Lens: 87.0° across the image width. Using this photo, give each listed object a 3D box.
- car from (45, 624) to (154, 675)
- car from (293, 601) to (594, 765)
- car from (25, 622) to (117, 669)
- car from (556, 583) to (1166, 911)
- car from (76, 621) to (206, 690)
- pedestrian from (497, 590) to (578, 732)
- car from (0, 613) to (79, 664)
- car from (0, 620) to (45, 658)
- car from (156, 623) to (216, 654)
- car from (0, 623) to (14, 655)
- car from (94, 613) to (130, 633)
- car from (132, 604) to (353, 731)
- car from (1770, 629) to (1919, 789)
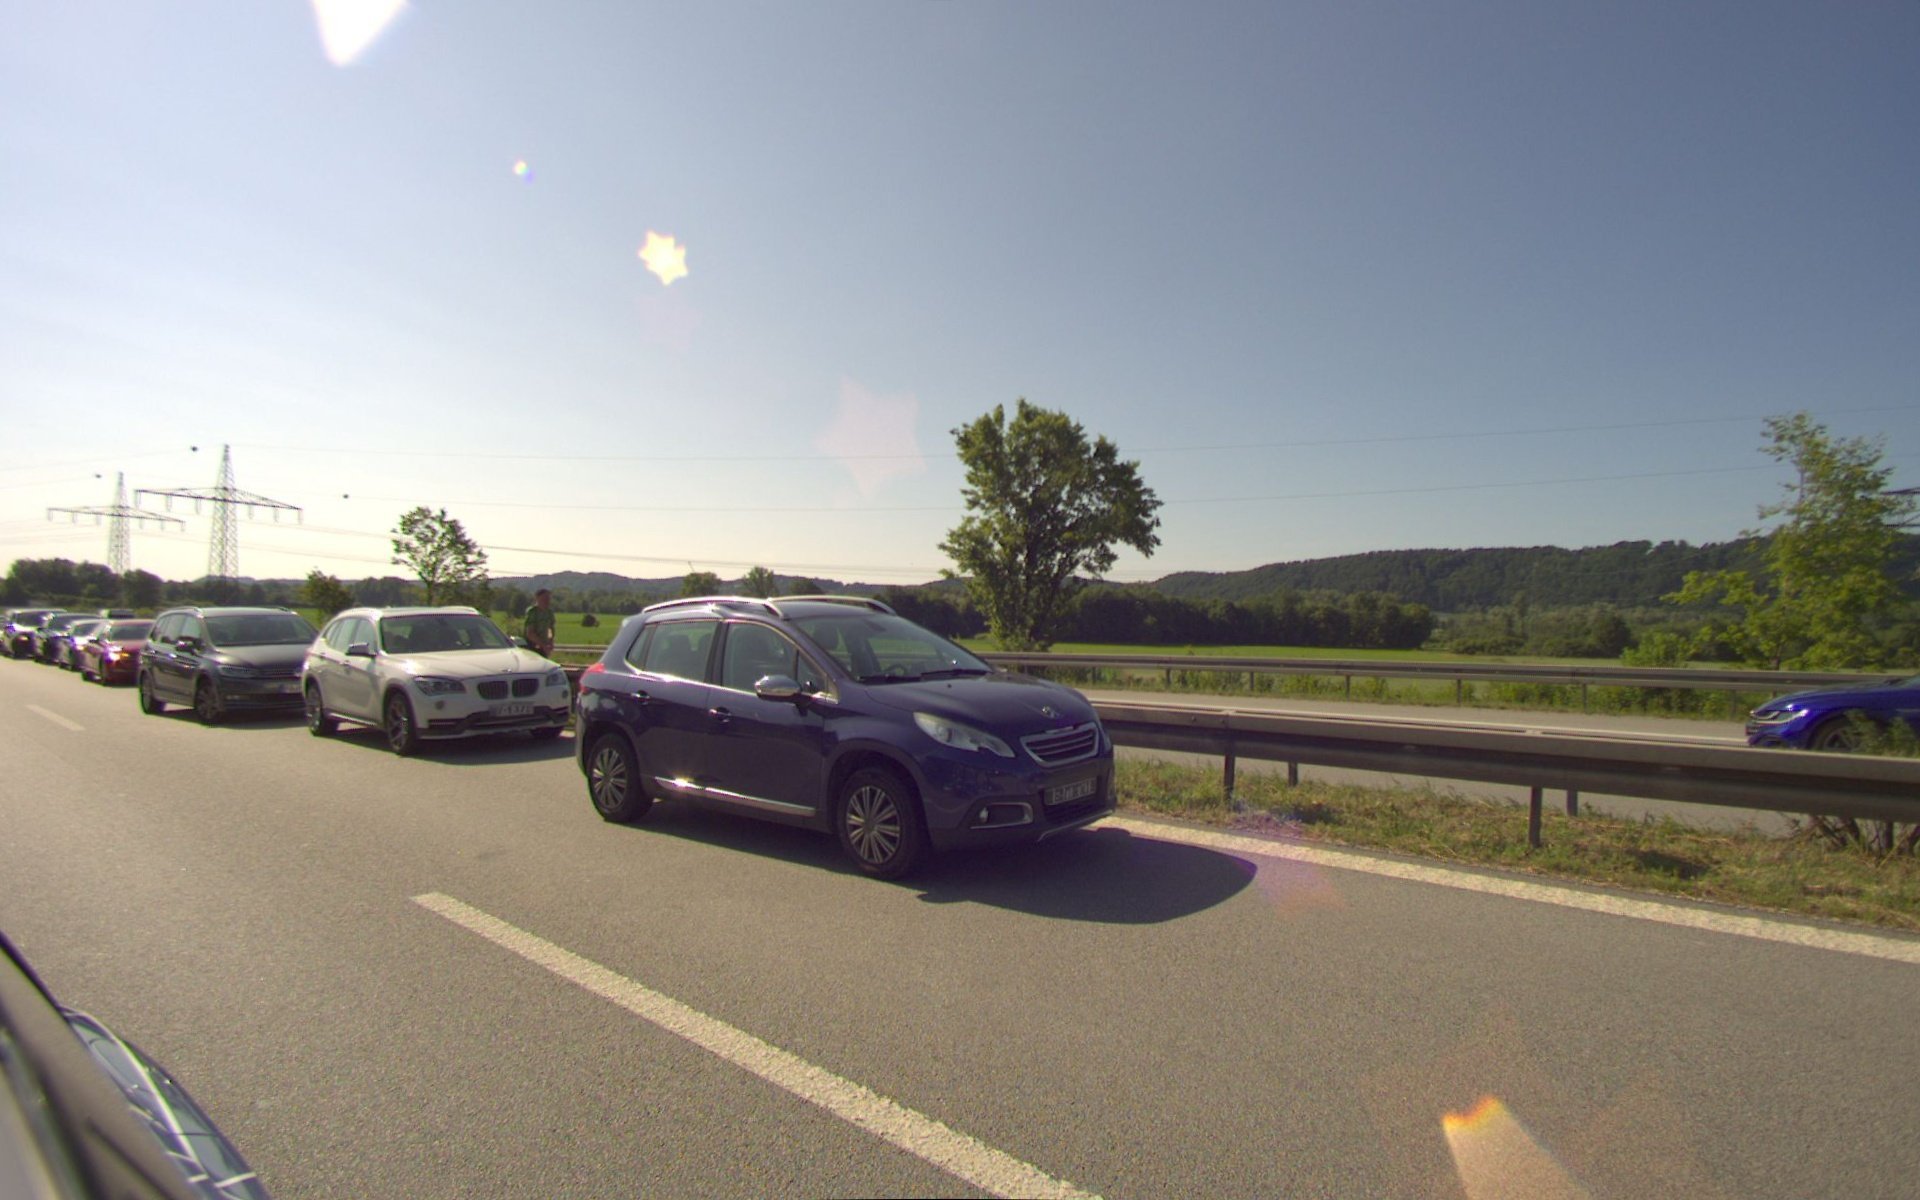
[{"bbox_3d":[-25.317,1.401,29.727,3.998,1.409,1.870,-1,-2,41],"label":"car"},{"bbox_3d":[-6.164,0.844,11.873,4.163,1.586,1.808,-1,-1,42],"label":"car"},{"bbox_3d":[-29.780,1.480,33.871,3.999,1.466,1.869,-1,-2,42],"label":"car"},{"bbox_3d":[-0.826,0.716,6.671,3.944,1.546,1.671,-1,0,39],"label":"car"},{"bbox_3d":[-19.131,1.234,23.587,4.117,1.470,1.795,-1,-2,43],"label":"car"},{"bbox_3d":[-5.478,0.772,13.127,0.814,1.764,0.663,-1,-2,41],"label":"pedestrian"},{"bbox_3d":[-34.996,1.435,38.344,4.197,1.801,1.877,-1,-2,41],"label":"car"},{"bbox_3d":[-40.476,1.625,42.965,3.998,1.542,1.973,-1,-2,41],"label":"car"},{"bbox_3d":[-37.883,1.851,49.517,3.786,1.437,1.691,-1,-2,43],"label":"car"},{"bbox_3d":[-47.475,1.876,49.067,3.998,1.542,1.973,-1,-2,41],"label":"car"},{"bbox_3d":[-73.006,1.957,87.136,4.393,1.644,1.838,-1,0,43],"label":"car"},{"bbox_3d":[-10.818,0.913,15.163,4.115,1.628,1.796,-1,-1,41],"label":"car"},{"bbox_3d":[10.277,1.001,9.106,4.565,1.424,1.694,-1,-1,42],"label":"car"}]
